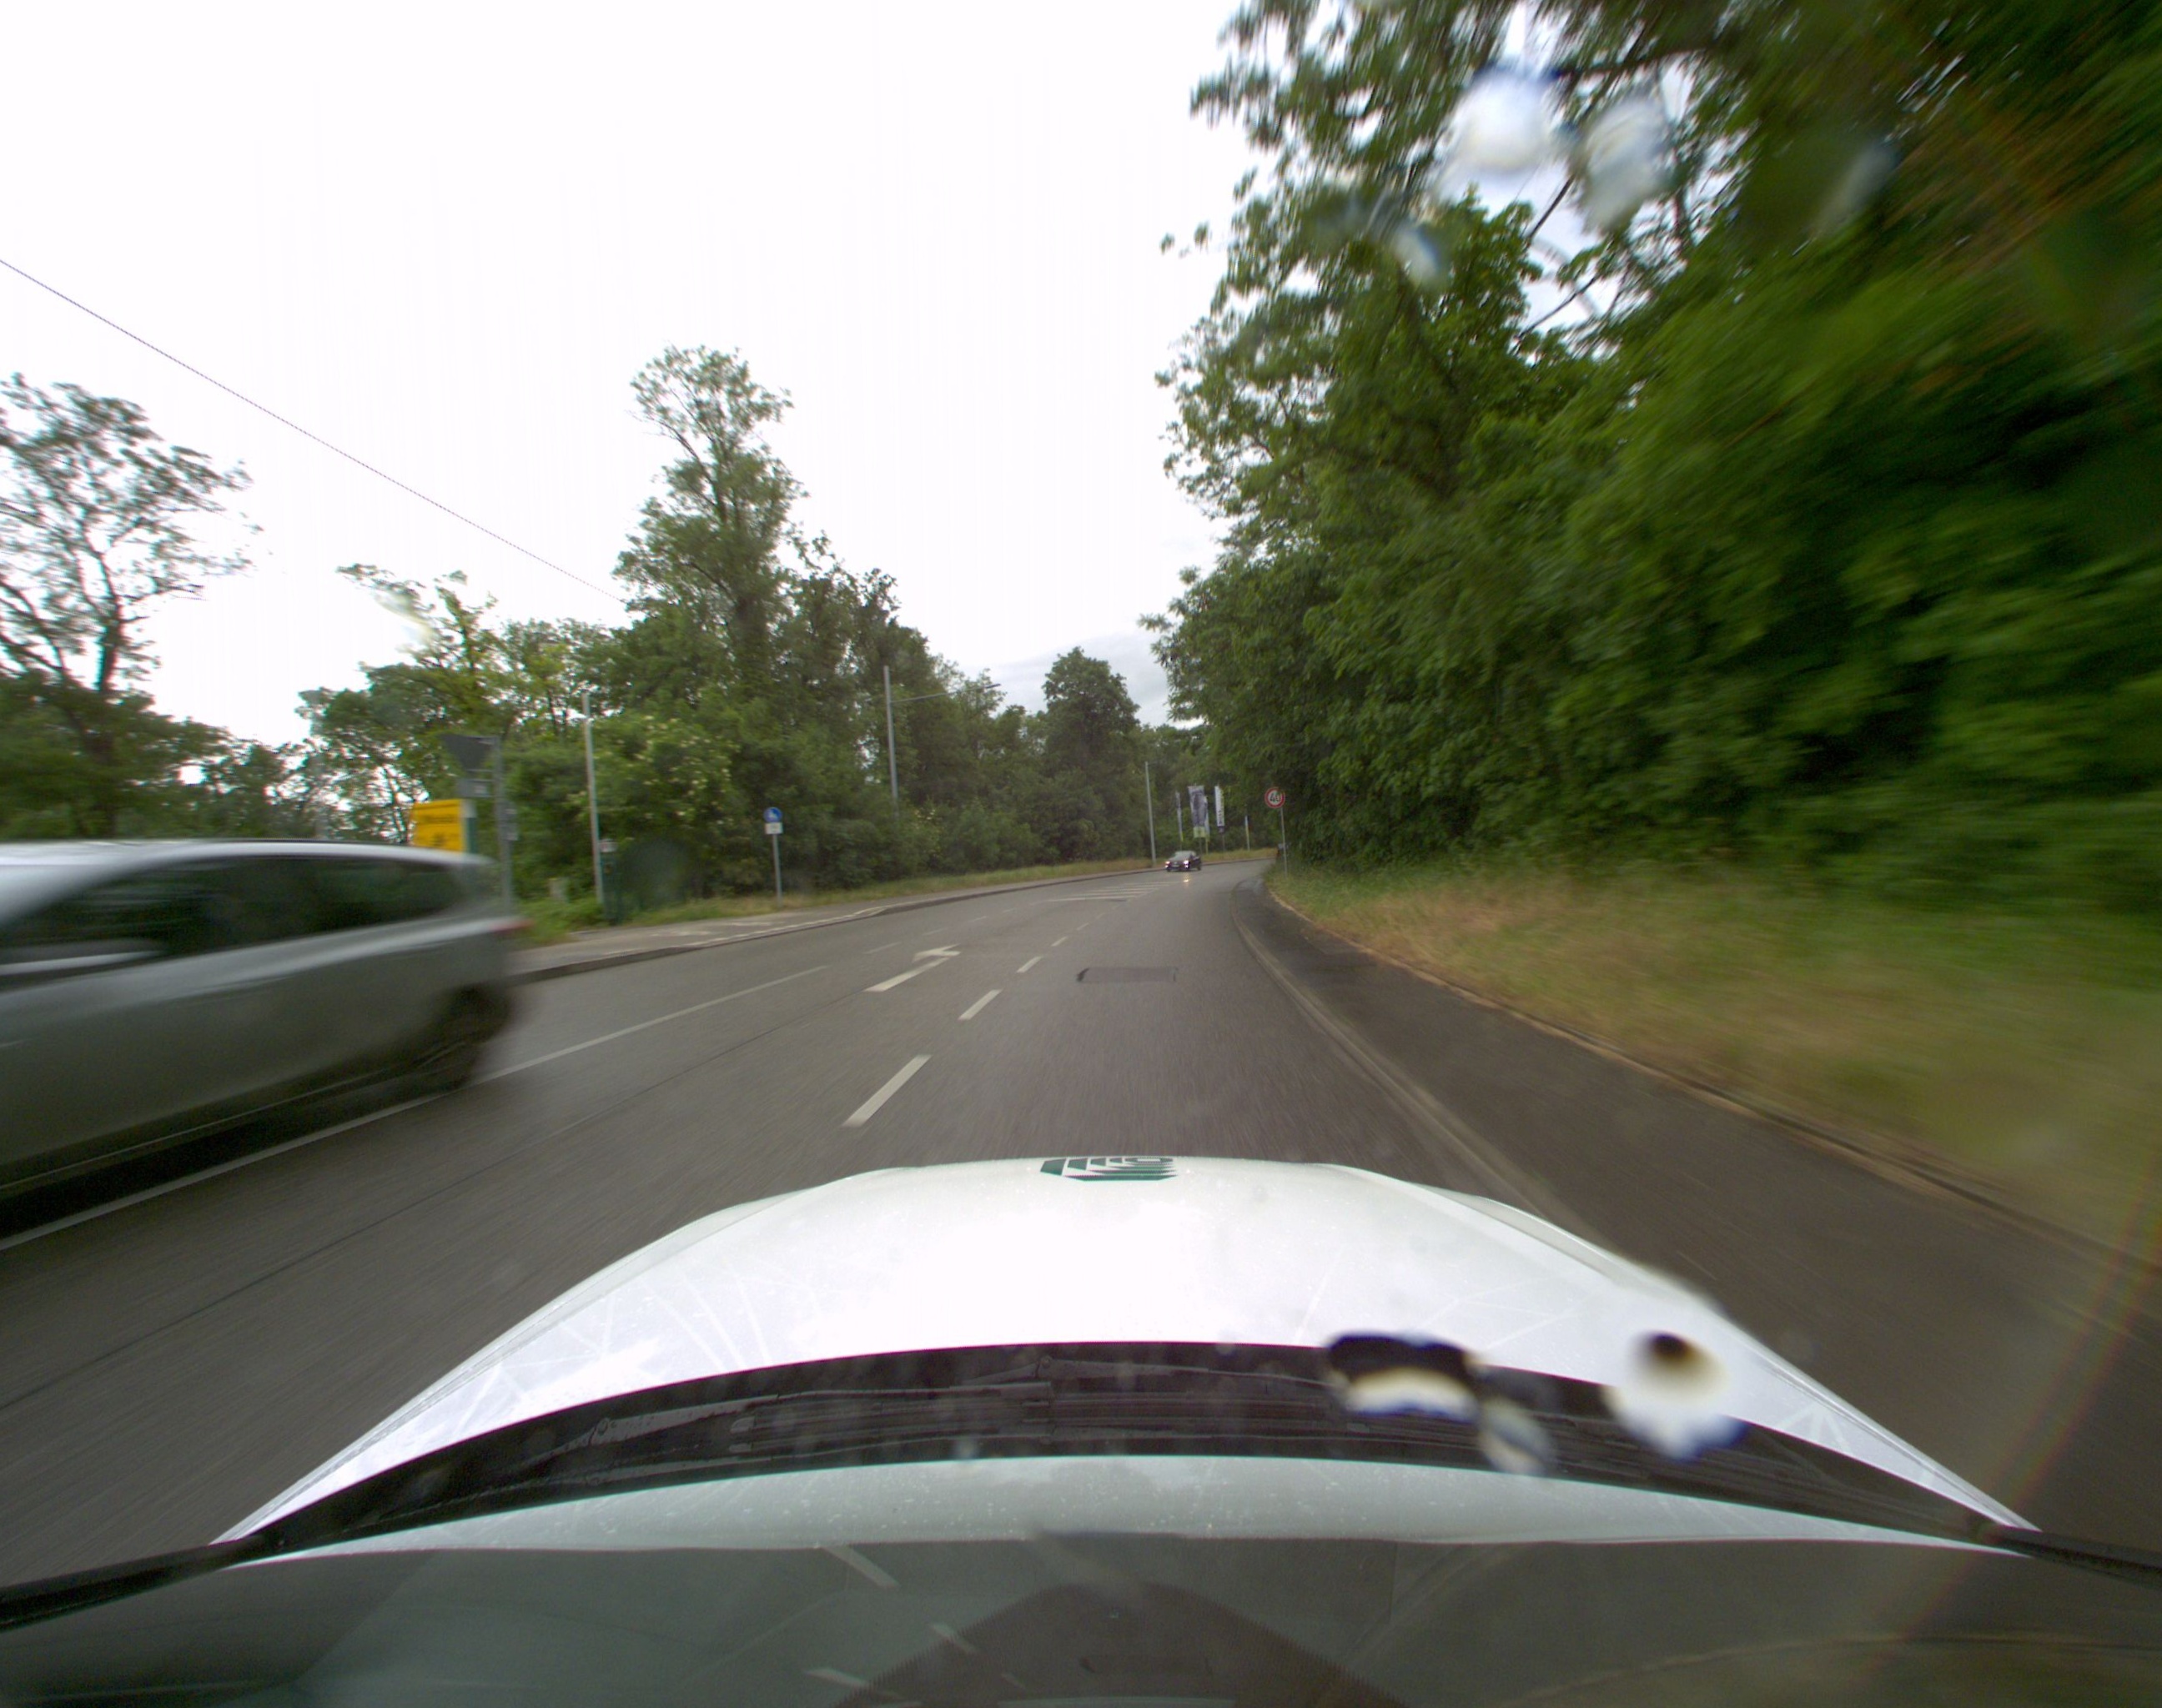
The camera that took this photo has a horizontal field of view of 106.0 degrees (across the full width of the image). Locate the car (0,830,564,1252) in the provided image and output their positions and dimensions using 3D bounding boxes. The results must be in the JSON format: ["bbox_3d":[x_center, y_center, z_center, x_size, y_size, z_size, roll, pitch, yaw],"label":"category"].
[{"bbox_3d":[-4.961,0.723,4.039,1.751,1.615,4.422,-1,0,4],"label":"car"}]

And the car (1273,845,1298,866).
[{"bbox_3d":[16.709,0.111,66.590,1.658,1.594,3.692,-1,0,9],"label":"car"}]

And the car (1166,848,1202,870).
[{"bbox_3d":[7.452,0.348,58.635,1.580,1.477,3.813,-1,0,23],"label":"car"}]
